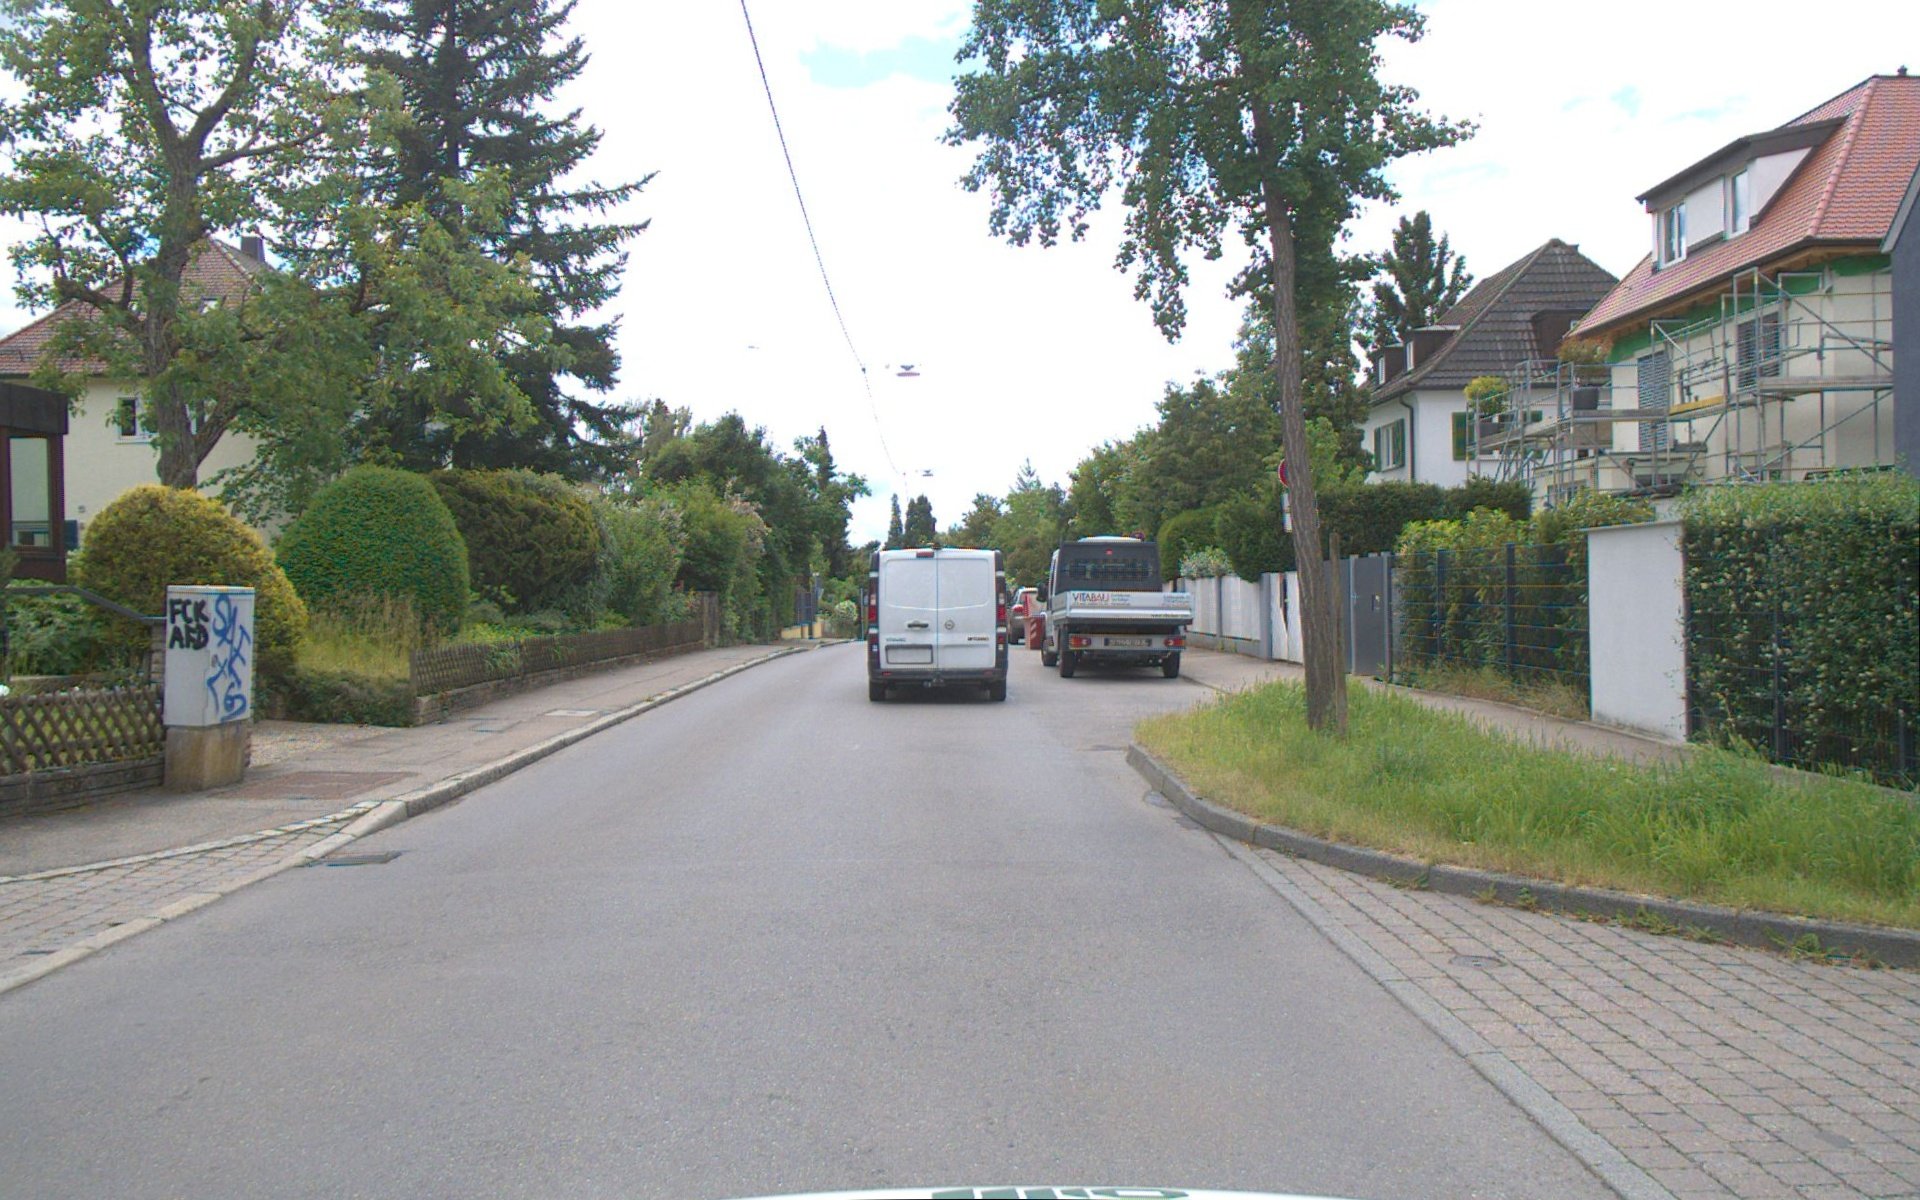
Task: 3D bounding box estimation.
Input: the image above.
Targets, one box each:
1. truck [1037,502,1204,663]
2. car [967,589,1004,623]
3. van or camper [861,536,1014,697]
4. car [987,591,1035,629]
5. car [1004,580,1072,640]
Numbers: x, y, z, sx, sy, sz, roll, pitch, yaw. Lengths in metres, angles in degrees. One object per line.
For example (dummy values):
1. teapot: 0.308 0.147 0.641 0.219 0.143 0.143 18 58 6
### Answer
1. truck: 2.685 -0.292 29.575 2.143 2.515 7.429 0 0 -1
2. car: 1.292 0.310 85.621 1.709 1.658 4.258 -2 0 -2
3. van or camper: -0.333 0.239 22.911 1.900 1.988 4.763 0 -1 -1
4. car: 2.107 0.402 68.852 1.709 1.472 4.258 -2 0 -2
5. car: 2.315 0.299 50.058 1.709 1.704 4.183 -2 0 -2
